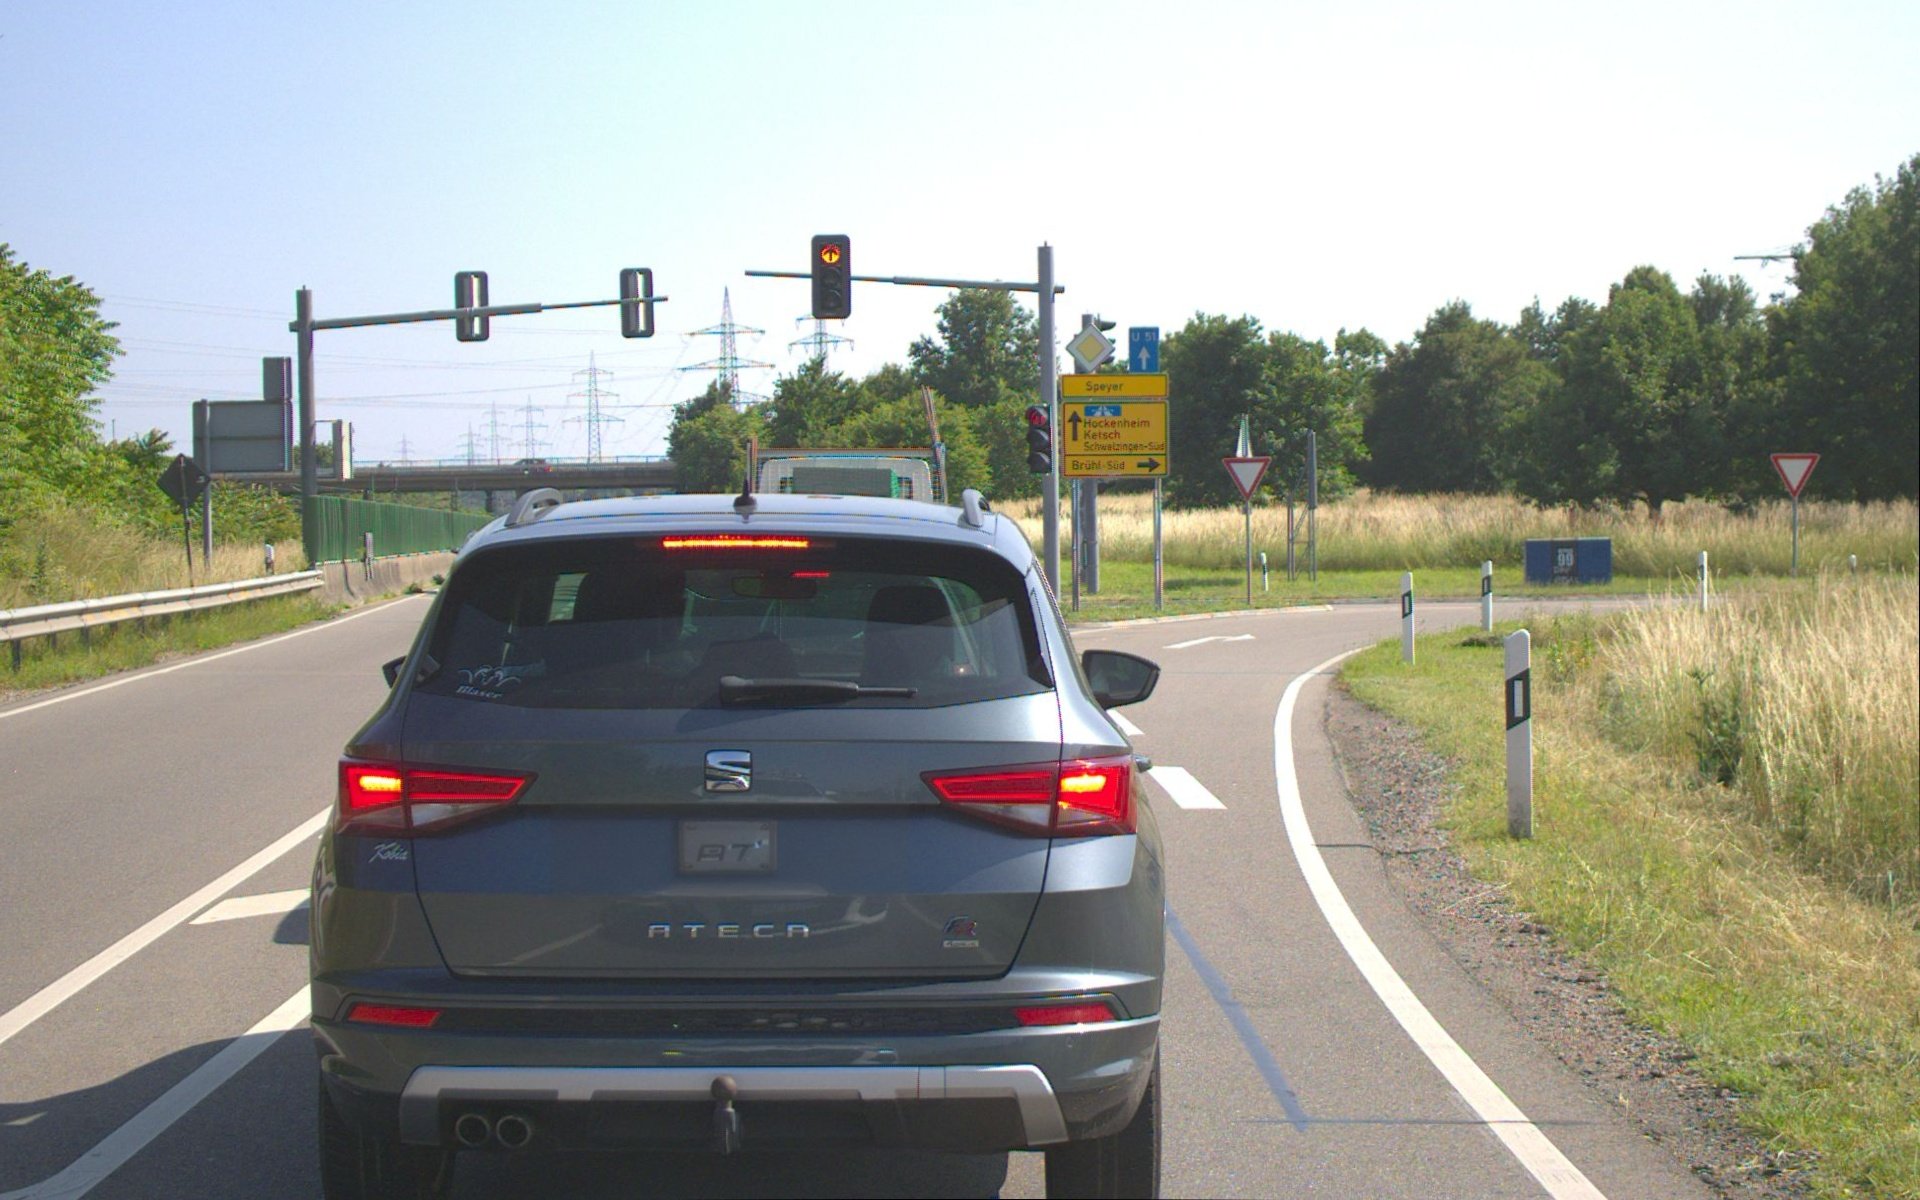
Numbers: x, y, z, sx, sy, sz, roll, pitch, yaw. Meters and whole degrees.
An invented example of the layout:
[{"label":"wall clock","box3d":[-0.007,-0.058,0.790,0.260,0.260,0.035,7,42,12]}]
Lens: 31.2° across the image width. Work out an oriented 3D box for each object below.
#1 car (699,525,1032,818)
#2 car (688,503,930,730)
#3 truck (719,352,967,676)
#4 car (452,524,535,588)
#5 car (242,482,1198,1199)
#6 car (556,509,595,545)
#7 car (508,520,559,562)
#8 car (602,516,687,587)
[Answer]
[{"label":"car","box3d":[-0.615,0.343,20.611,1.785,1.538,4.001,-1,2,-3]},{"label":"car","box3d":[-1.231,0.066,27.622,1.785,1.670,4.001,-1,2,-3]},{"label":"truck","box3d":[-1.190,-0.851,35.302,2.337,3.055,5.810,0,1,-2]},{"label":"car","box3d":[-10.867,-1.043,80.271,1.824,1.426,4.001,-1,2,-7]},{"label":"car","box3d":[-0.551,0.542,8.495,1.785,1.623,4.001,-1,2,-3]},{"label":"car","box3d":[-21.446,-4.098,191.696,1.963,1.945,4.998,-1,2,-8]},{"label":"car","box3d":[-15.344,-2.140,123.783,1.761,1.426,4.001,-1,2,-7]},{"label":"car","box3d":[-7.185,-1.115,78.121,1.816,1.535,4.001,-1,2,-6]}]
